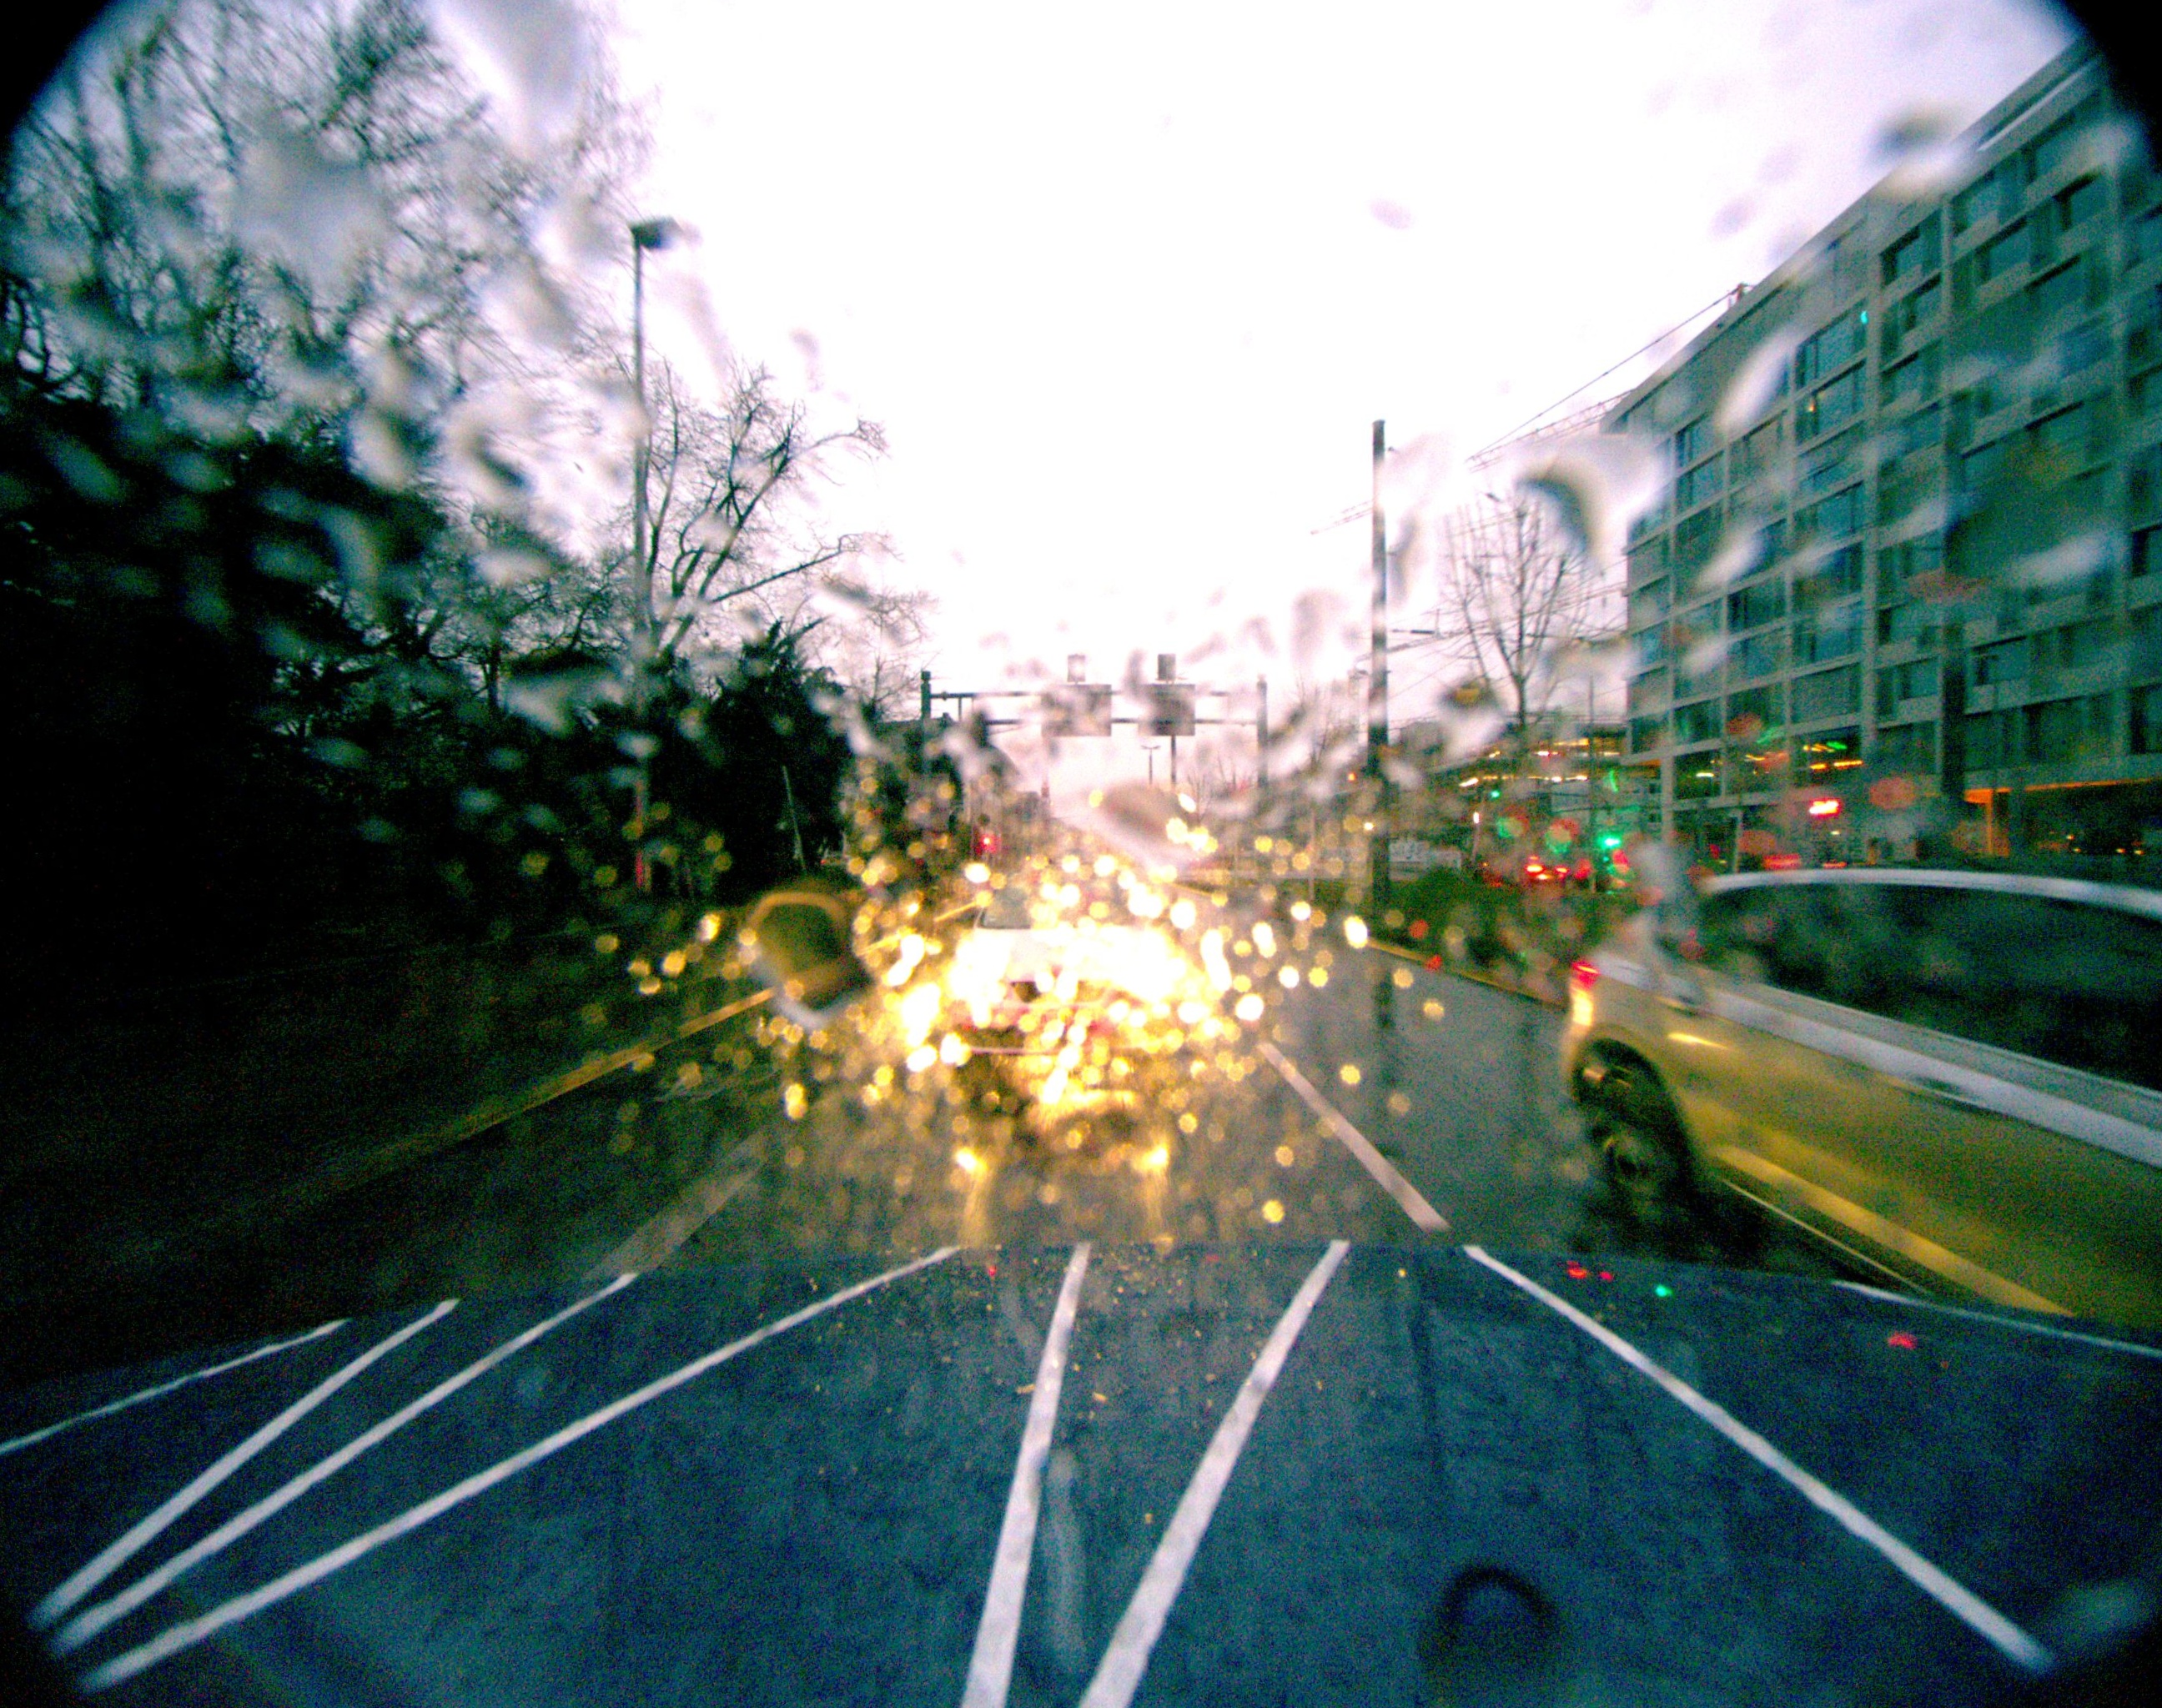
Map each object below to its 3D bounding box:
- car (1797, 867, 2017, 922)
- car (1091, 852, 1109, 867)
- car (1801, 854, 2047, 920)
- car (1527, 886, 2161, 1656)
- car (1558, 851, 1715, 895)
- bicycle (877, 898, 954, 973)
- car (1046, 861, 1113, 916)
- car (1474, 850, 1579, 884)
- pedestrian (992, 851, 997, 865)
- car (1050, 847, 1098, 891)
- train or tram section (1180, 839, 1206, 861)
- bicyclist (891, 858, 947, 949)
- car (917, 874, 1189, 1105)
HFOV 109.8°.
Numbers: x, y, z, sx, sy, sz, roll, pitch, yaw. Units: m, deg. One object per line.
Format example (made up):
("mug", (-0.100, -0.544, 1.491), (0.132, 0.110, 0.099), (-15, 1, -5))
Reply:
("car", (26.333, 1.209, 24.542), (1.900, 1.507, 4.792), (0, 0, 1))
("car", (2.050, 0.557, 79.367), (1.767, 1.363, 3.981), (-2, 1, 2))
("car", (20.366, 0.729, 18.628), (1.901, 1.423, 3.706), (0, 0, 0))
("car", (2.996, 0.874, 1.588), (1.767, 1.363, 3.981), (-2, 1, 0))
("car", (20.417, 0.658, 28.190), (2.001, 1.488, 4.444), (0, 0, -15))
("bicycle", (-2.563, 1.231, 11.991), (0.647, 0.961, 2.047), (0, 0, 3))
("car", (-0.047, 0.911, 21.847), (1.728, 1.318, 3.980), (-2, 1, 0))
("car", (20.315, 0.562, 34.945), (1.998, 1.459, 5.034), (0, 0, 1))
("pedestrian", (-9.384, 0.462, 82.642), (0.521, 1.501, 0.588), (0, 1, 1))
("car", (-0.270, 0.569, 31.295), (1.781, 1.666, 3.980), (-2, 1, 0))
("train or tram section", (19.056, -0.674, 129.756), (2.964, 3.466, 14.268), (0, 0, 3))
("bicyclist", (-2.558, 0.763, 12.063), (0.647, 1.381, 0.890), (0, 1, 3))
("car", (-0.190, 0.970, 7.114), (1.798, 1.363, 3.980), (-2, 1, 0))
